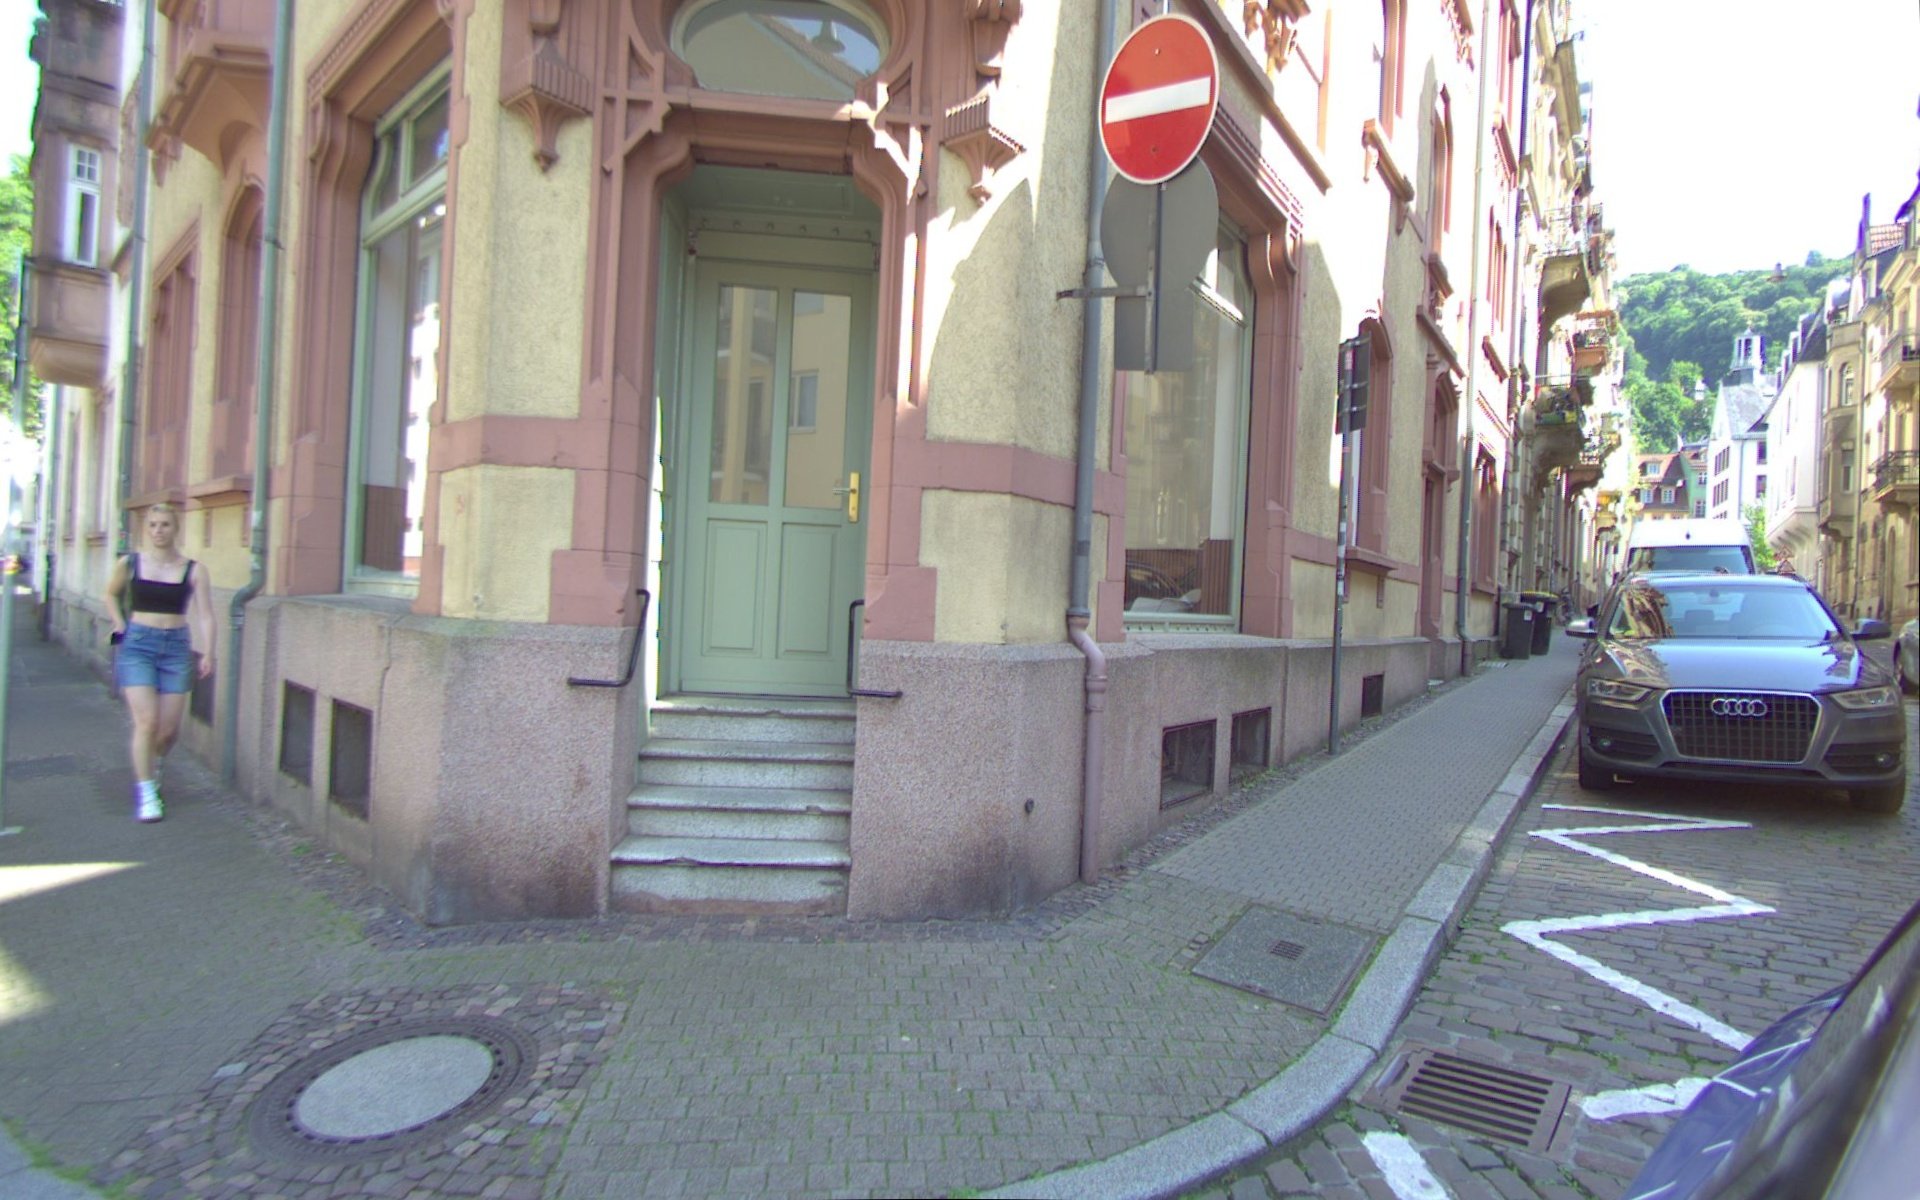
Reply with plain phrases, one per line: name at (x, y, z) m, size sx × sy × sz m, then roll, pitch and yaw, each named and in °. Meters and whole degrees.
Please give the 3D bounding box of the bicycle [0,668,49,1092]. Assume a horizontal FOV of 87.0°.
bicycle at (-2.994, 0.785, 2.046) m, size 0.497 × 1.160 × 1.789 m, roll 2°, pitch 1°, yaw 8°

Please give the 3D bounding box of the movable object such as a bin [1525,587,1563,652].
movable object such as a bin at (10.175, 0.338, 17.637) m, size 0.514 × 1.103 × 0.416 m, roll 2°, pitch 0°, yaw 36°

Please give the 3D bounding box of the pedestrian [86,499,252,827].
pedestrian at (-4.727, 0.320, 6.037) m, size 0.978 × 1.780 × 0.613 m, roll 1°, pitch 3°, yaw 44°

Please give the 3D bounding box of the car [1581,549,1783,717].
car at (8.847, 0.312, 12.520) m, size 1.750 × 1.727 × 3.950 m, roll -1°, pitch 1°, yaw 35°

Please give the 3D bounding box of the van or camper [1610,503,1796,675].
van or camper at (13.234, -0.290, 18.344) m, size 2.212 × 2.551 × 6.686 m, roll 3°, pitch 3°, yaw 34°

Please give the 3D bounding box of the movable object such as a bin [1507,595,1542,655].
movable object such as a bin at (9.336, 0.406, 16.738) m, size 0.437 × 0.969 × 0.345 m, roll 2°, pitch 0°, yaw 36°

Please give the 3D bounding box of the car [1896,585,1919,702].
car at (12.990, 0.598, 12.236) m, size 1.866 × 1.511 × 4.327 m, roll 2°, pitch 2°, yaw 35°

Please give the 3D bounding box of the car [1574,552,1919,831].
car at (6.033, 0.491, 8.003) m, size 1.849 × 1.603 × 4.209 m, roll 0°, pitch 1°, yaw 34°
